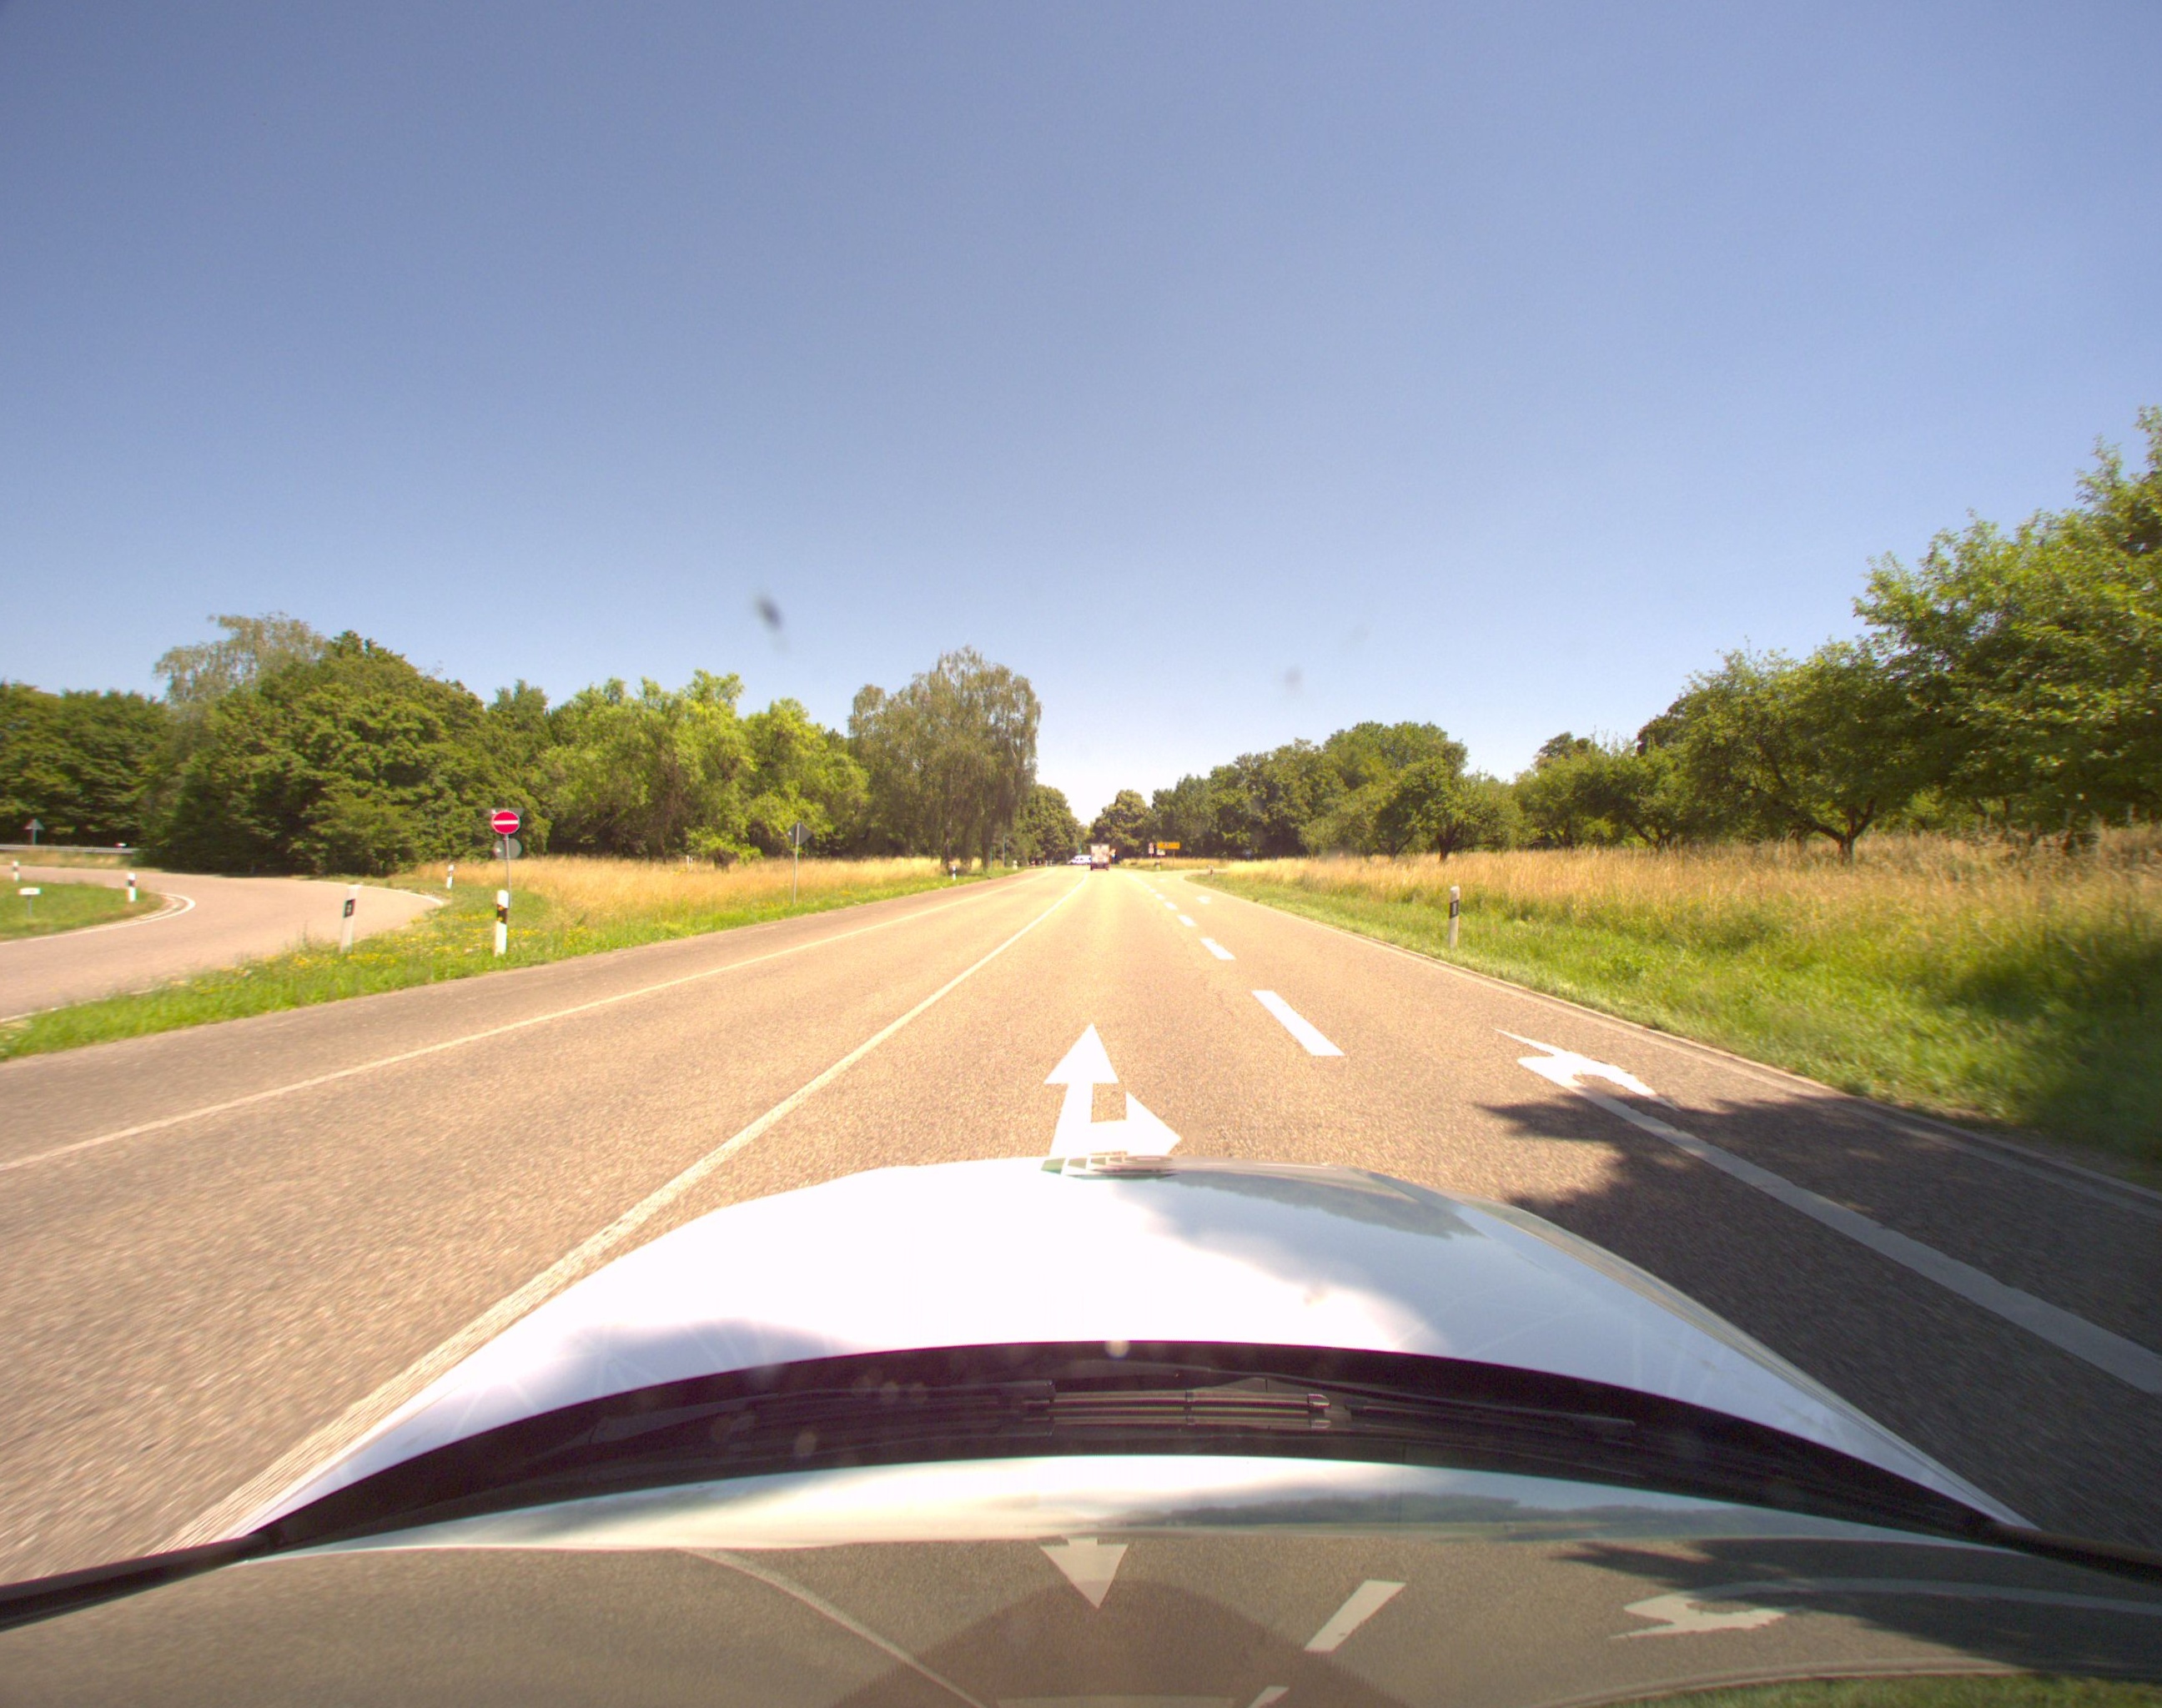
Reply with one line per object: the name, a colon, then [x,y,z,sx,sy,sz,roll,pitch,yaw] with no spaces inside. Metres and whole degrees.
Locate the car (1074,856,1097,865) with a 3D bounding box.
car: [1.252,2.024,240.380,6.812,2.628,2.057,0,-1,-35]

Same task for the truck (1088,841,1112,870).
truck: [2.226,0.168,92.371,2.523,3.135,5.365,-1,0,3]
